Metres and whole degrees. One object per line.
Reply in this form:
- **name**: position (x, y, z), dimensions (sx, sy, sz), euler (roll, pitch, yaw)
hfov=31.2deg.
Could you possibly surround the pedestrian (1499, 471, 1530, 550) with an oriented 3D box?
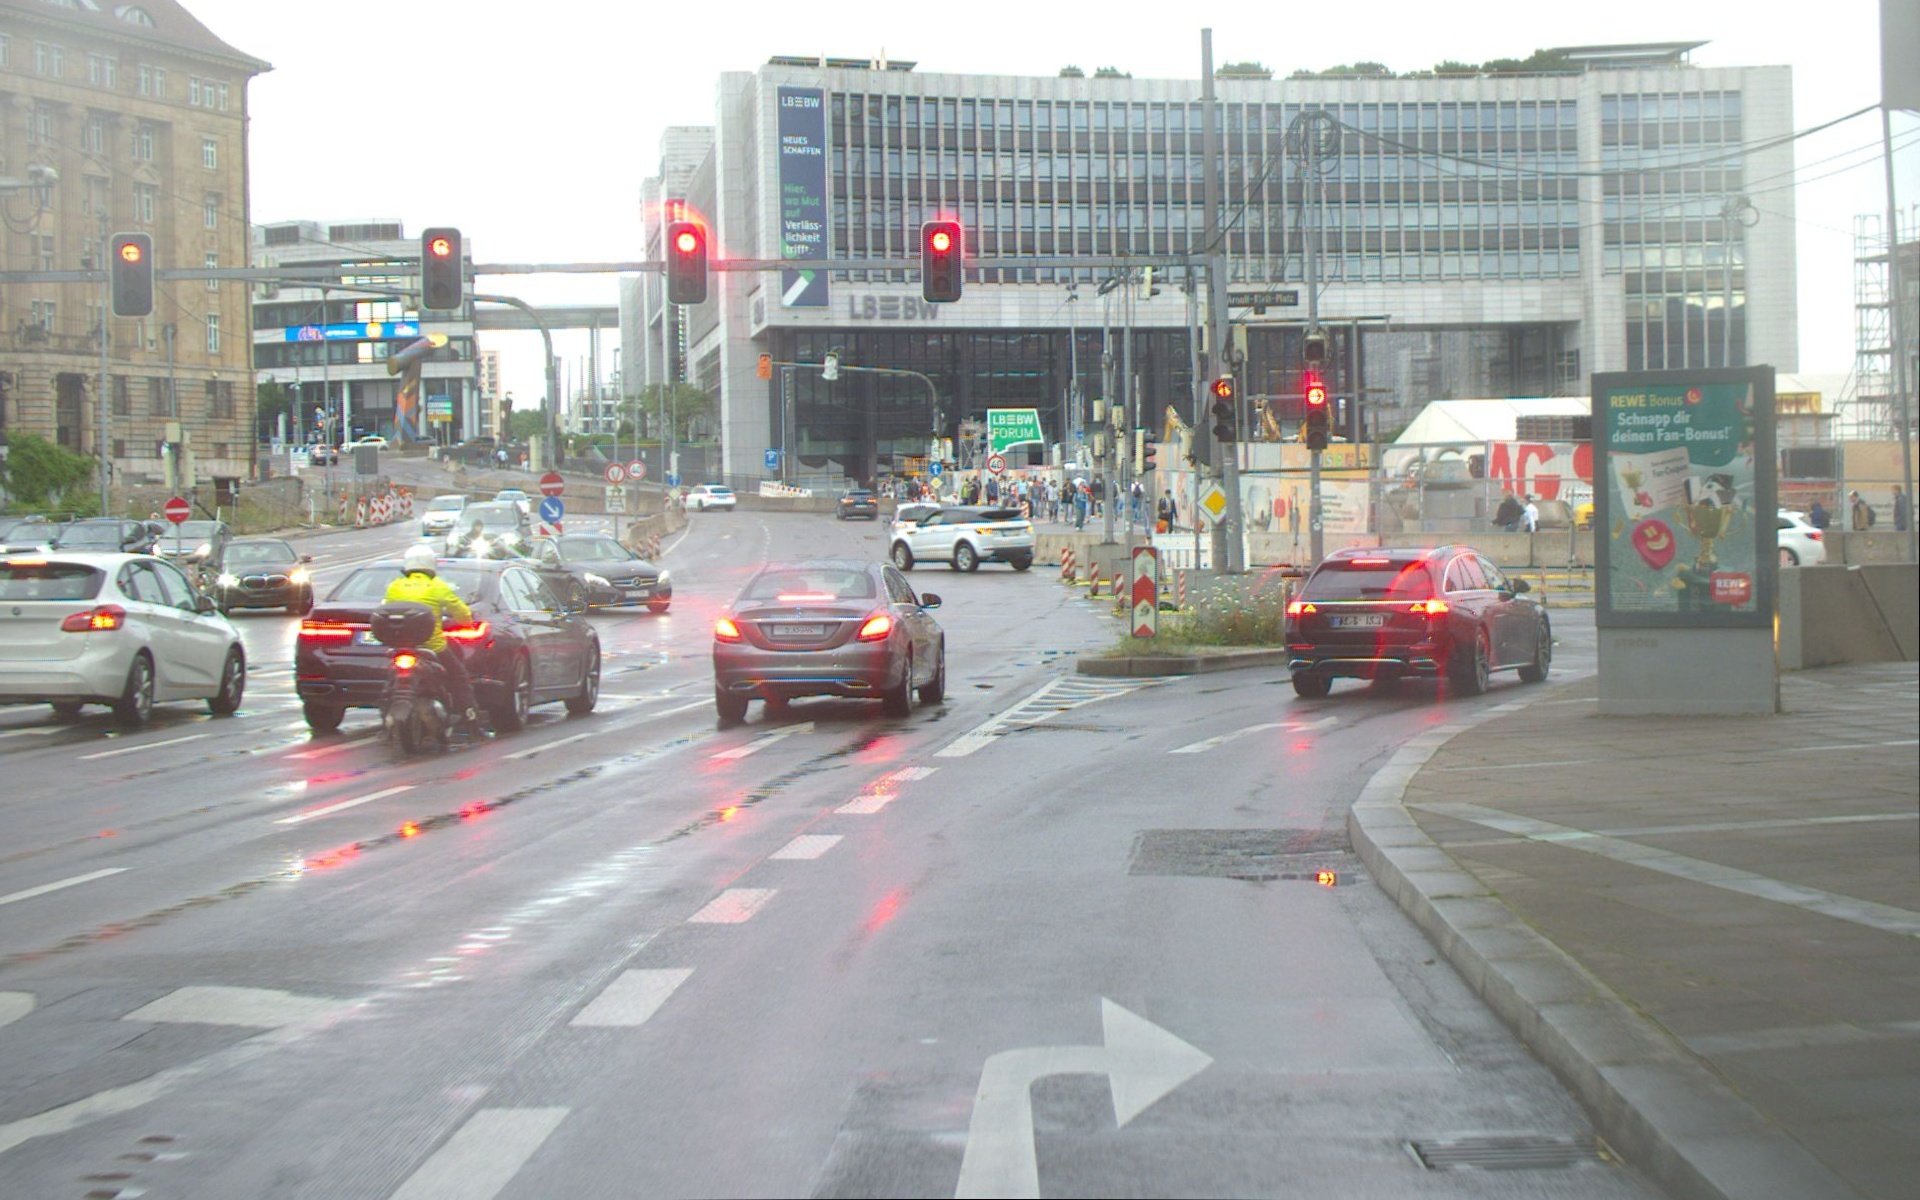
- **pedestrian**: position (13.476, -2.170, 83.497), dimensions (0.361, 1.891, 0.576), euler (-3, 1, -42)

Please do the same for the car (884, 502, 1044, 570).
- **car**: position (0.078, -1.563, 84.945), dimensions (1.994, 1.634, 3.999), euler (0, 0, -35)

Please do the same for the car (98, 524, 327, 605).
- **car**: position (-14.268, -0.675, 65.552), dimensions (4.107, 1.501, 1.996), euler (0, 0, 35)

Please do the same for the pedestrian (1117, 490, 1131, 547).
- **pedestrian**: position (5.430, -2.702, 113.968), dimensions (0.361, 1.891, 0.576), euler (0, 0, -10)

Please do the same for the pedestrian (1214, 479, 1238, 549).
- **pedestrian**: position (7.225, -2.331, 93.437), dimensions (0.361, 1.891, 0.576), euler (0, 0, -35)

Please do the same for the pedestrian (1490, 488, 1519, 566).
- **pedestrian**: position (13.178, -1.766, 83.172), dimensions (0.576, 1.891, 0.361), euler (0, 0, 43)

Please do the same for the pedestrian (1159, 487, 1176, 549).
- **pedestrian**: position (6.393, -2.529, 106.115), dimensions (0.361, 1.891, 0.576), euler (0, 0, -14)

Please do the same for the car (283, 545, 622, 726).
- **car**: position (-4.496, 0.281, 31.255), dimensions (1.887, 1.509, 5.001), euler (0, 0, 6)

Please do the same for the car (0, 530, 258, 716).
- **car**: position (-7.990, 0.184, 31.768), dimensions (1.733, 1.610, 3.999), euler (0, 0, 7)

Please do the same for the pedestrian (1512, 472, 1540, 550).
- **pedestrian**: position (13.799, -2.156, 83.776), dimensions (0.361, 1.891, 0.576), euler (0, 0, -42)

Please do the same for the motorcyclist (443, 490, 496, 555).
- **motorcyclist**: position (-10.412, -1.641, 72.933), dimensions (0.846, 1.353, 0.948), euler (0, 0, -28)

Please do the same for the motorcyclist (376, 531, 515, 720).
- **motorcyclist**: position (-4.088, 0.195, 27.386), dimensions (0.941, 1.470, 1.100), euler (0, 0, 0)

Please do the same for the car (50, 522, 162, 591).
- **car**: position (-19.992, -1.014, 80.577), dimensions (1.801, 1.568, 4.075), euler (0, 0, -3)

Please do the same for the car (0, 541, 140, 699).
- **car**: position (-10.308, 0.196, 35.670), dimensions (1.784, 1.594, 4.070), euler (0, 0, 15)

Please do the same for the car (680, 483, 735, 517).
- **car**: position (-14.265, -5.656, 193.956), dimensions (1.993, 1.809, 4.001), euler (0, 0, -21)

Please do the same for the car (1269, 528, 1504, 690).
- **car**: position (4.374, 0.073, 34.783), dimensions (1.892, 1.538, 3.991), euler (0, 0, 14)

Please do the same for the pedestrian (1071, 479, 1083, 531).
- **pedestrian**: position (4.273, -3.485, 125.754), dimensions (0.361, 1.891, 0.576), euler (0, 0, -6)

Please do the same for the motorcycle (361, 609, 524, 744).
- **motorcycle**: position (-4.090, 0.584, 27.359), dimensions (0.942, 0.986, 2.294), euler (0, 1, 0)

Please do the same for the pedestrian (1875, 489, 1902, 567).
- **pedestrian**: position (22.563, -1.753, 83.563), dimensions (0.575, 1.891, 0.362), euler (0, 0, 4)

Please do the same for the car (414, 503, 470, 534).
- **car**: position (-21.893, -3.429, 145.413), dimensions (1.767, 1.256, 4.194), euler (0, 0, -1)

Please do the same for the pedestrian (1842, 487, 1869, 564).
- **pedestrian**: position (22.050, -1.822, 84.641), dimensions (0.574, 1.891, 0.362), euler (0, 0, 4)

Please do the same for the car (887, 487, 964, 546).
- **car**: position (-1.042, -2.513, 102.762), dimensions (1.727, 1.634, 3.436), euler (0, 4, -10)

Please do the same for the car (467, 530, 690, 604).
- **car**: position (-7.108, -0.607, 63.770), dimensions (1.995, 1.340, 4.110), euler (0, 0, -45)

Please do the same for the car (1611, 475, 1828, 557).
- **car**: position (16.811, -1.855, 76.242), dimensions (4.404, 1.760, 2.000), euler (0, 0, 3)

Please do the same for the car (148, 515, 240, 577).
- **car**: position (-20.119, -1.405, 90.412), dimensions (1.697, 1.568, 4.000), euler (0, 0, -3)

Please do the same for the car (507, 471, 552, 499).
- **car**: position (-21.317, -5.697, 170.170), dimensions (1.767, 1.256, 4.000), euler (0, 0, -1)

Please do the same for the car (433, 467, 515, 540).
- **car**: position (-12.823, -2.525, 91.013), dimensions (1.993, 1.791, 5.104), euler (0, 0, -6)

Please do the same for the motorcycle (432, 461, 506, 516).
- **motorcycle**: position (-10.423, -2.356, 72.939), dimensions (0.848, 1.104, 2.143), euler (0, 0, -29)

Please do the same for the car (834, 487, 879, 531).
- **car**: position (-4.899, -4.285, 162.361), dimensions (1.993, 2.007, 4.001), euler (0, 0, -4)

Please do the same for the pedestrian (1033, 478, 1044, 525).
- **pedestrian**: position (3.187, -3.969, 138.980), dimensions (0.361, 1.891, 0.576), euler (0, 0, -6)

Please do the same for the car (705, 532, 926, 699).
- **car**: position (-1.303, 0.096, 32.747), dimensions (1.783, 1.397, 4.486), euler (0, 2, 2)

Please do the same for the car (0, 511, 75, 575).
- **car**: position (-23.563, -1.413, 86.618), dimensions (1.697, 1.568, 4.000), euler (0, 0, -3)
